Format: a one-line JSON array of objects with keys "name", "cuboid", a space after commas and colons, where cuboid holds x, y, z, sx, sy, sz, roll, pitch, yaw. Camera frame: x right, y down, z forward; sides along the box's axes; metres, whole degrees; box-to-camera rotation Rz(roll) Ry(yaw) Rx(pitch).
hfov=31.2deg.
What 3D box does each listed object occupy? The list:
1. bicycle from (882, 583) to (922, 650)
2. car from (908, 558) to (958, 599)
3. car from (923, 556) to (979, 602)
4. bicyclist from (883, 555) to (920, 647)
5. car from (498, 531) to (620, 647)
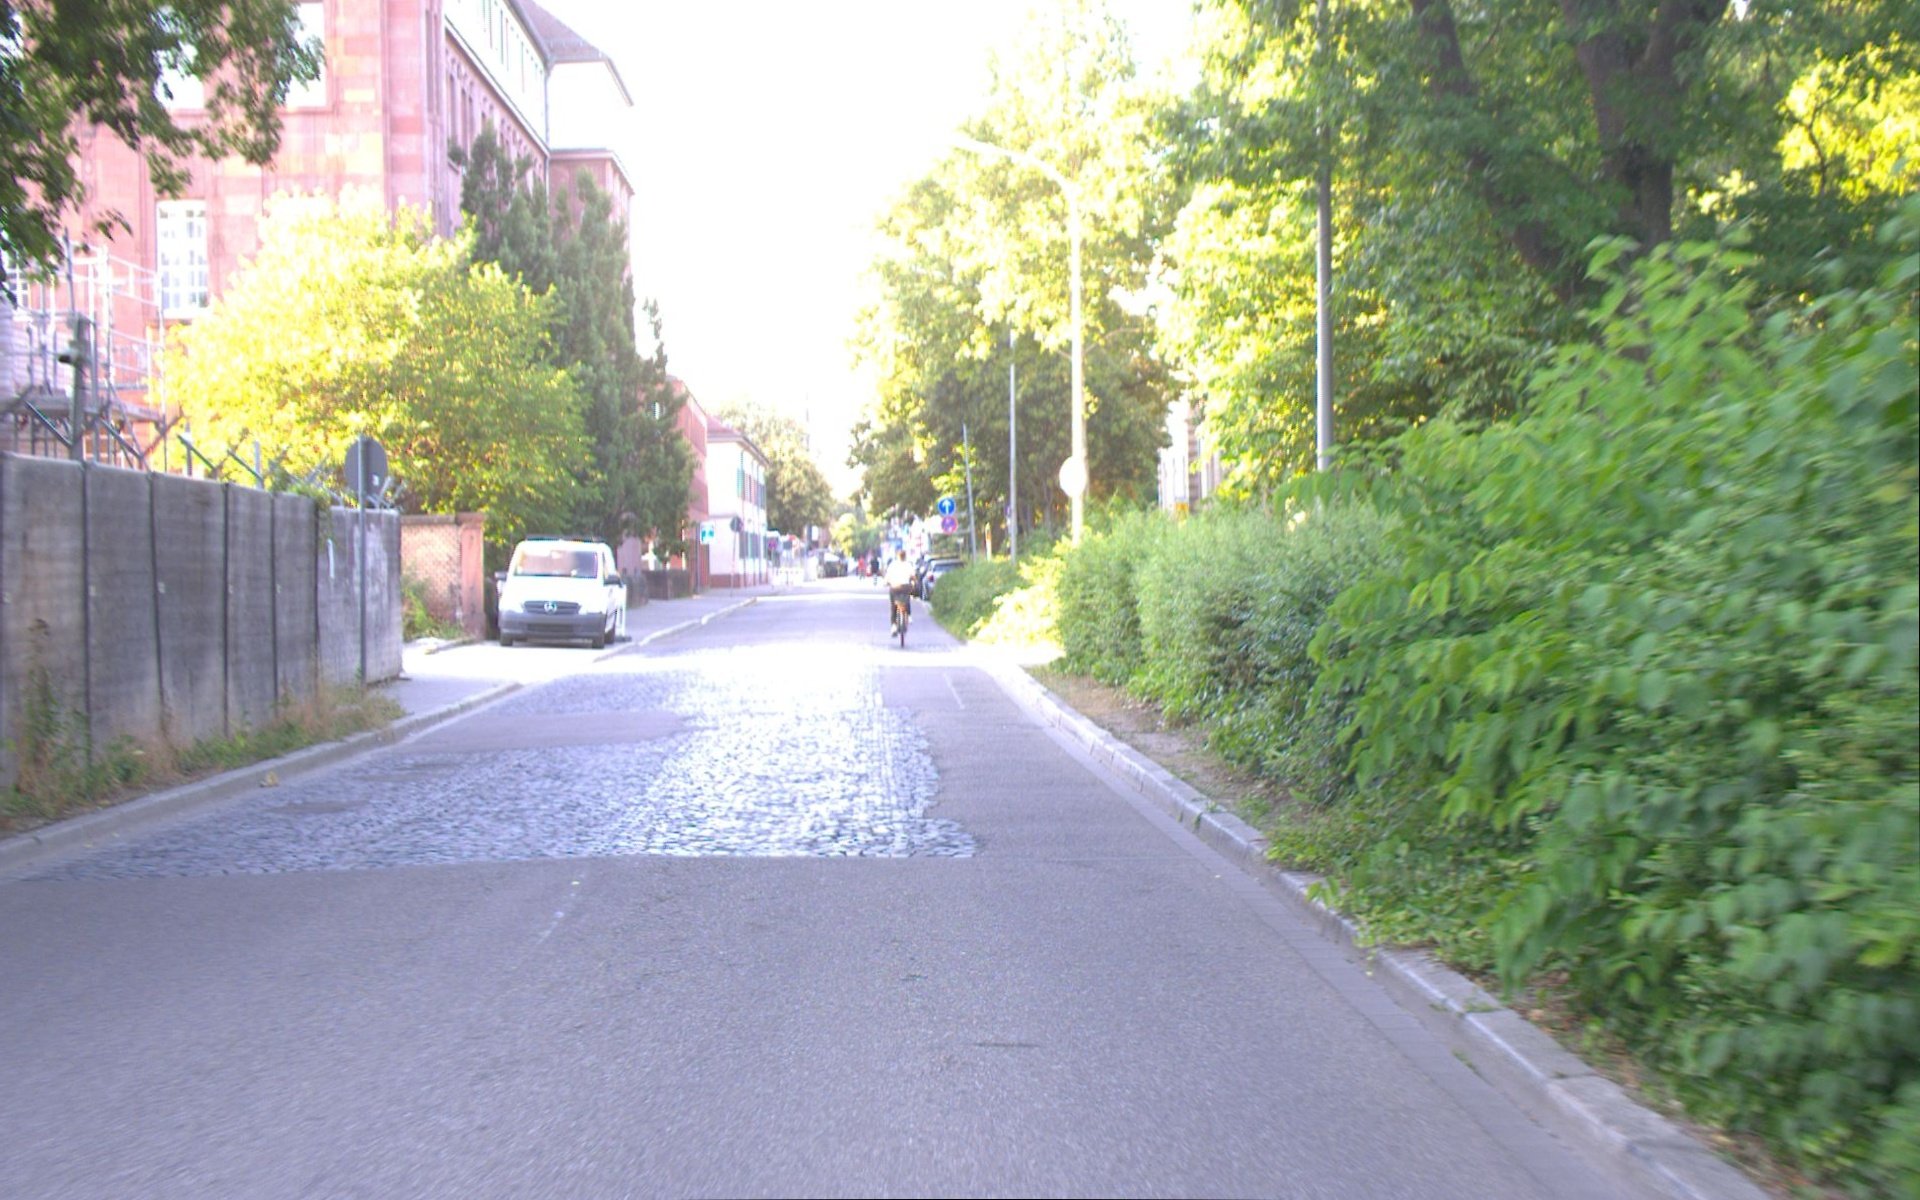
[{"name": "bicycle", "cuboid": [-1.068, 0.291, 62.766, 0.638, 1.189, 1.876, 0, 0, -3]}, {"name": "car", "cuboid": [-1.084, -0.856, 136.015, 1.715, 1.532, 4.049, -1, 1, -4]}, {"name": "car", "cuboid": [-0.321, -0.739, 122.209, 1.685, 1.442, 3.672, -4, 0, -3]}, {"name": "bicyclist", "cuboid": [-1.070, 0.010, 62.801, 0.639, 1.662, 0.843, 0, 0, -3]}, {"name": "car", "cuboid": [-7.257, -0.164, 62.602, 1.882, 2.007, 5.226, 1, -1, -3]}]
